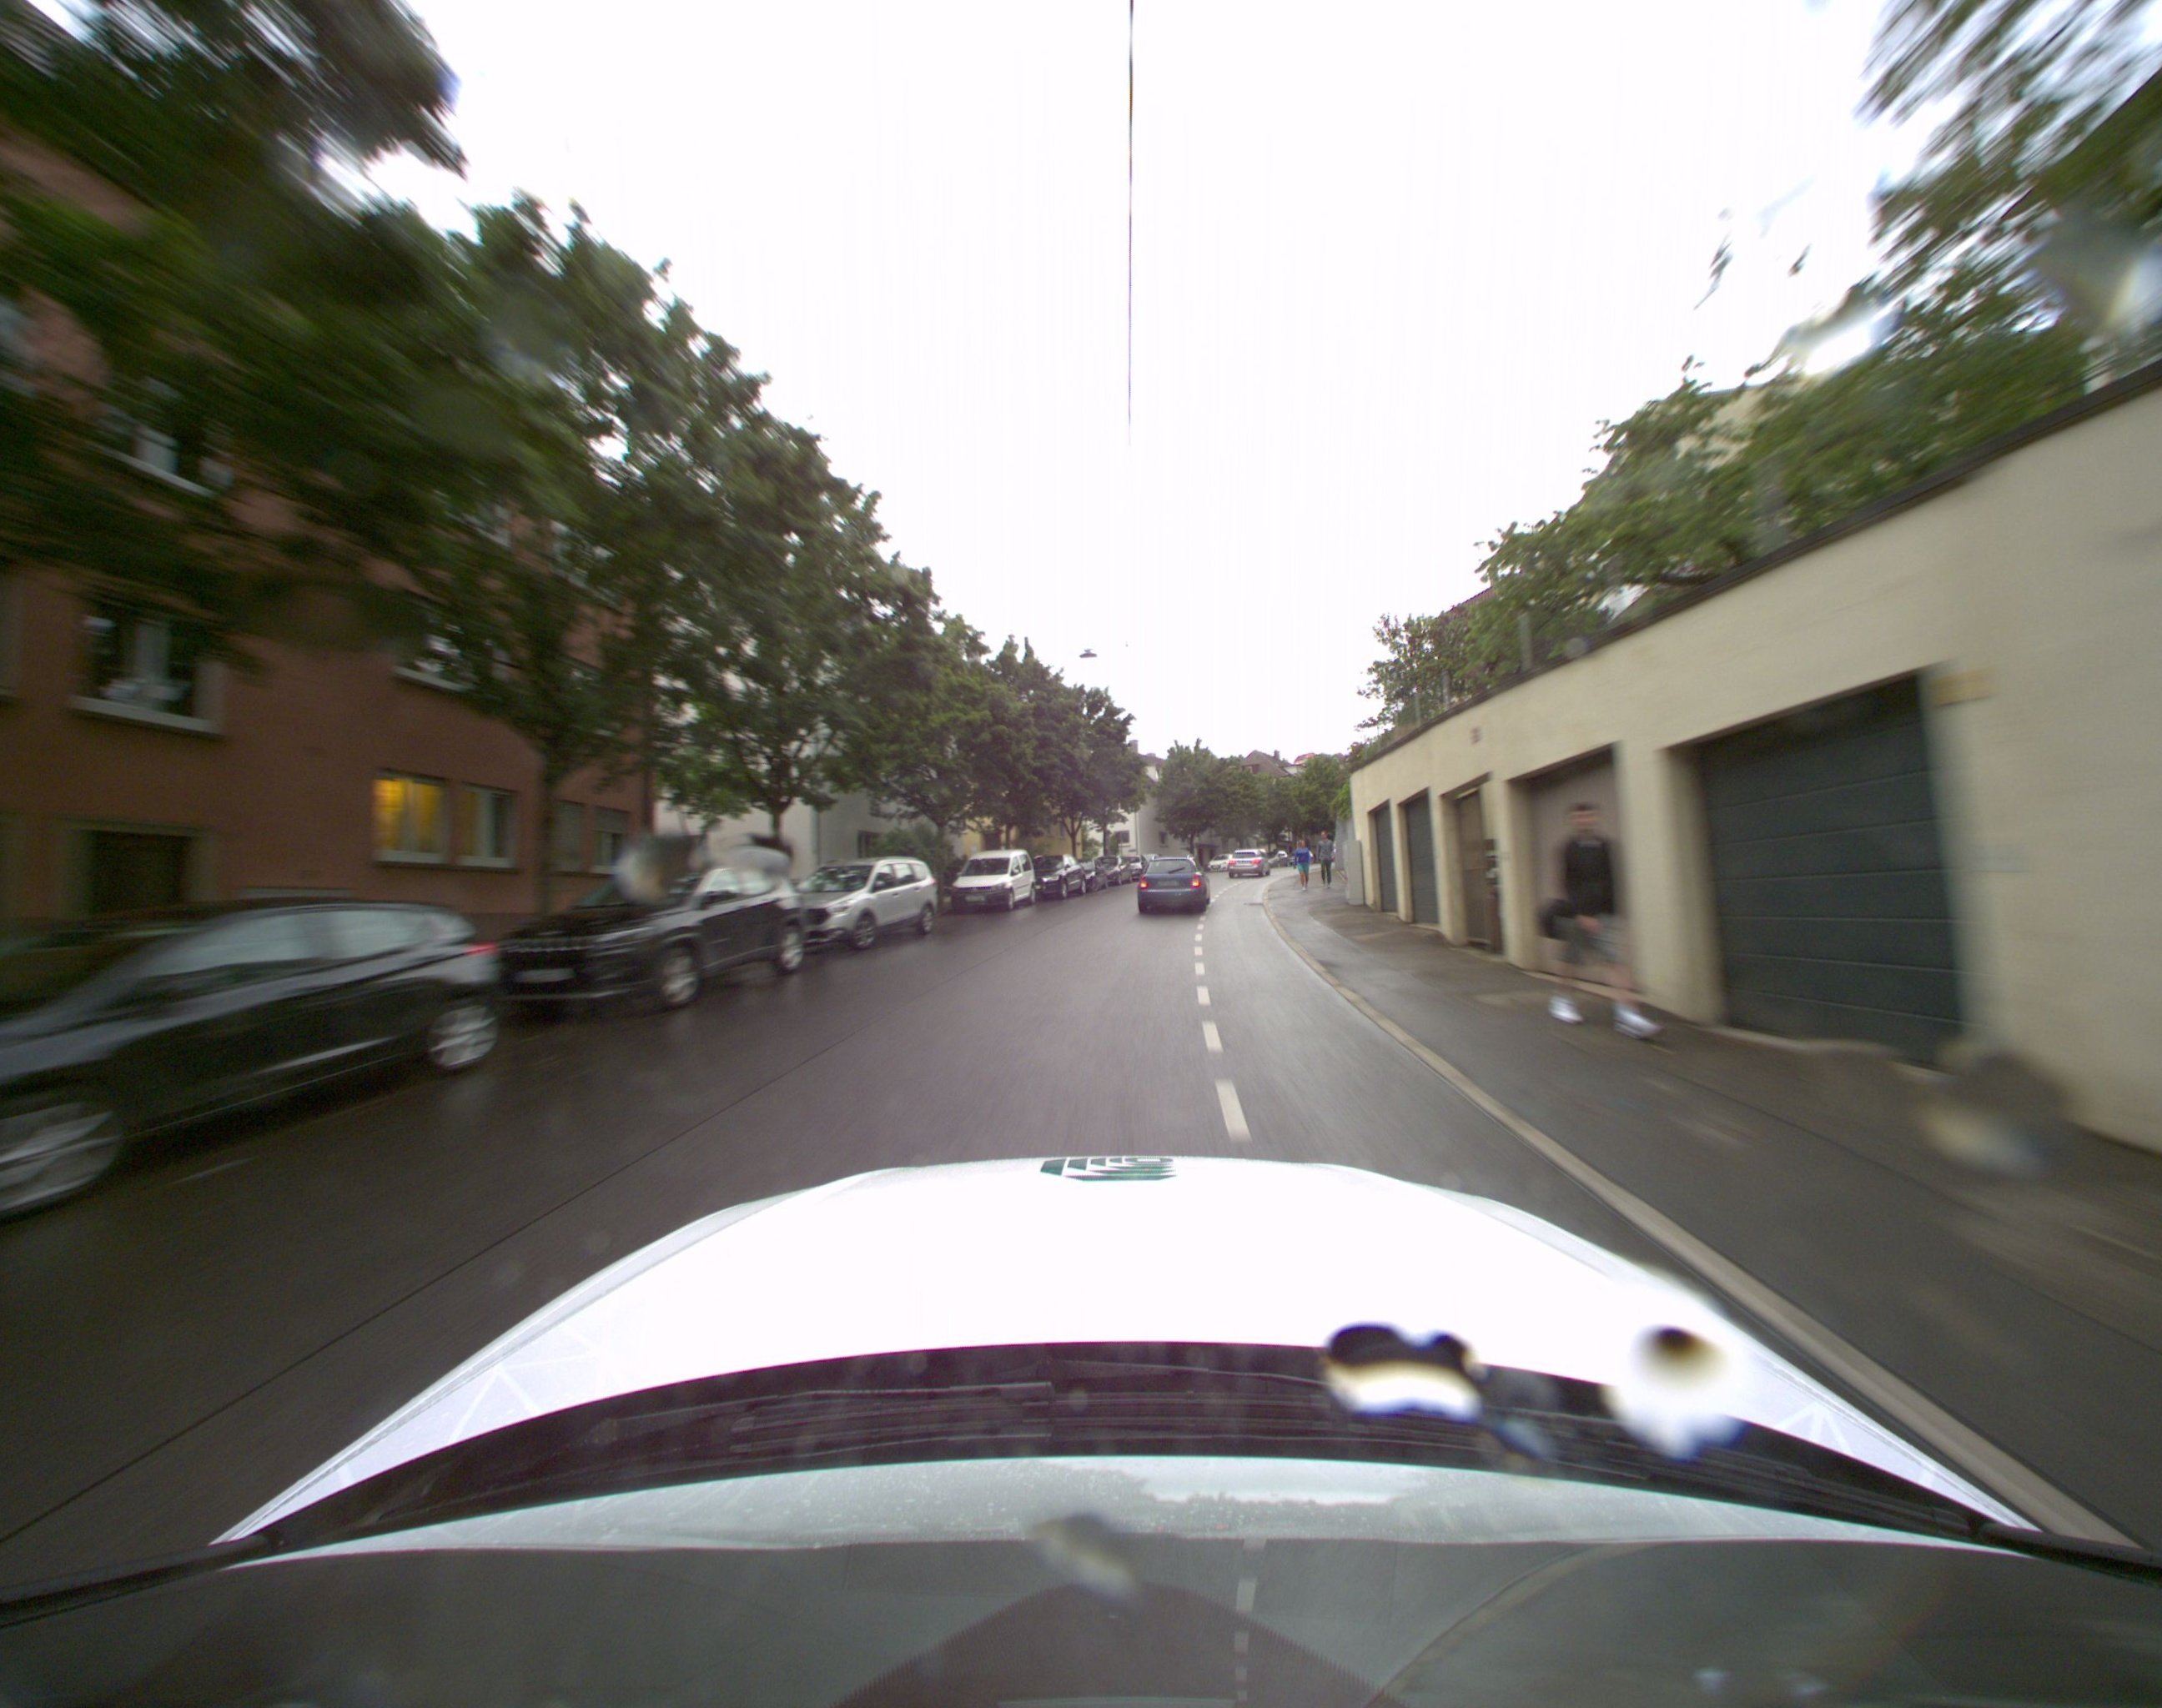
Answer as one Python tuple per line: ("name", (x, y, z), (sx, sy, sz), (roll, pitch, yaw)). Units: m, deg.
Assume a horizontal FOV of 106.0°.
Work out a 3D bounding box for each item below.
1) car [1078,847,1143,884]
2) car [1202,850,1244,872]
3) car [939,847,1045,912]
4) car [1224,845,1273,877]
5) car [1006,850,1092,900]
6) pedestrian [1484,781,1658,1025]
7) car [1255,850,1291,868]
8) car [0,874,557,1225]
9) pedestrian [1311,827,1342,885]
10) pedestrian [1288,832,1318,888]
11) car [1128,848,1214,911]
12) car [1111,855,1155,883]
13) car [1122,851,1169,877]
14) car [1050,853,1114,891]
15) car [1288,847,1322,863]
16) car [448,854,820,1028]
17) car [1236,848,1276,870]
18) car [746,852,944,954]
("car", (1.549, 0.533, 41.053), (1.838, 1.690, 4.578), (-3, 0, 21))
("car", (11.469, 0.581, 65.682), (1.767, 1.514, 4.373), (-7, -4, 31))
("car", (-2.634, 0.704, 25.230), (1.841, 1.777, 4.498), (-3, 0, 12))
("car", (9.035, 0.354, 43.578), (1.933, 1.561, 4.285), (-1, 1, 20))
("car", (-1.100, 0.734, 30.574), (1.840, 1.668, 4.606), (-3, -1, 15))
("pedestrian", (3.984, 0.387, 6.702), (0.894, 1.850, 0.804), (-3, -1, 6))
("car", (17.748, 0.450, 74.997), (1.787, 1.486, 4.263), (-7, -4, 33))
("car", (-5.701, 0.958, 5.127), (1.780, 1.493, 4.364), (-2, 0, 3))
("pedestrian", (8.026, 0.067, 26.672), (0.770, 1.832, 1.255), (-4, -1, 12))
("pedestrian", (7.299, 0.197, 26.811), (0.770, 1.758, 1.015), (-4, -1, 12))
("car", (2.521, 0.630, 21.966), (1.842, 1.414, 4.375), (-4, -1, 11))
("car", (2.976, 0.810, 45.941), (1.602, 1.396, 4.339), (-3, 0, 14))
("car", (4.089, 0.594, 50.749), (1.760, 1.540, 4.539), (-2, -1, 20))
("car", (0.123, 0.735, 35.577), (1.842, 1.498, 4.755), (-2, 0, 11))
("car", (21.710, 0.119, 78.912), (1.787, 1.453, 4.626), (-3, -2, 33))
("car", (-5.108, 0.860, 10.195), (1.778, 1.641, 4.487), (-2, 0, 6))
("car", (15.211, 0.421, 70.771), (1.767, 1.646, 4.373), (-8, -4, 34))
("car", (-4.438, 0.839, 16.179), (1.735, 1.690, 4.615), (-3, 0, 12))
